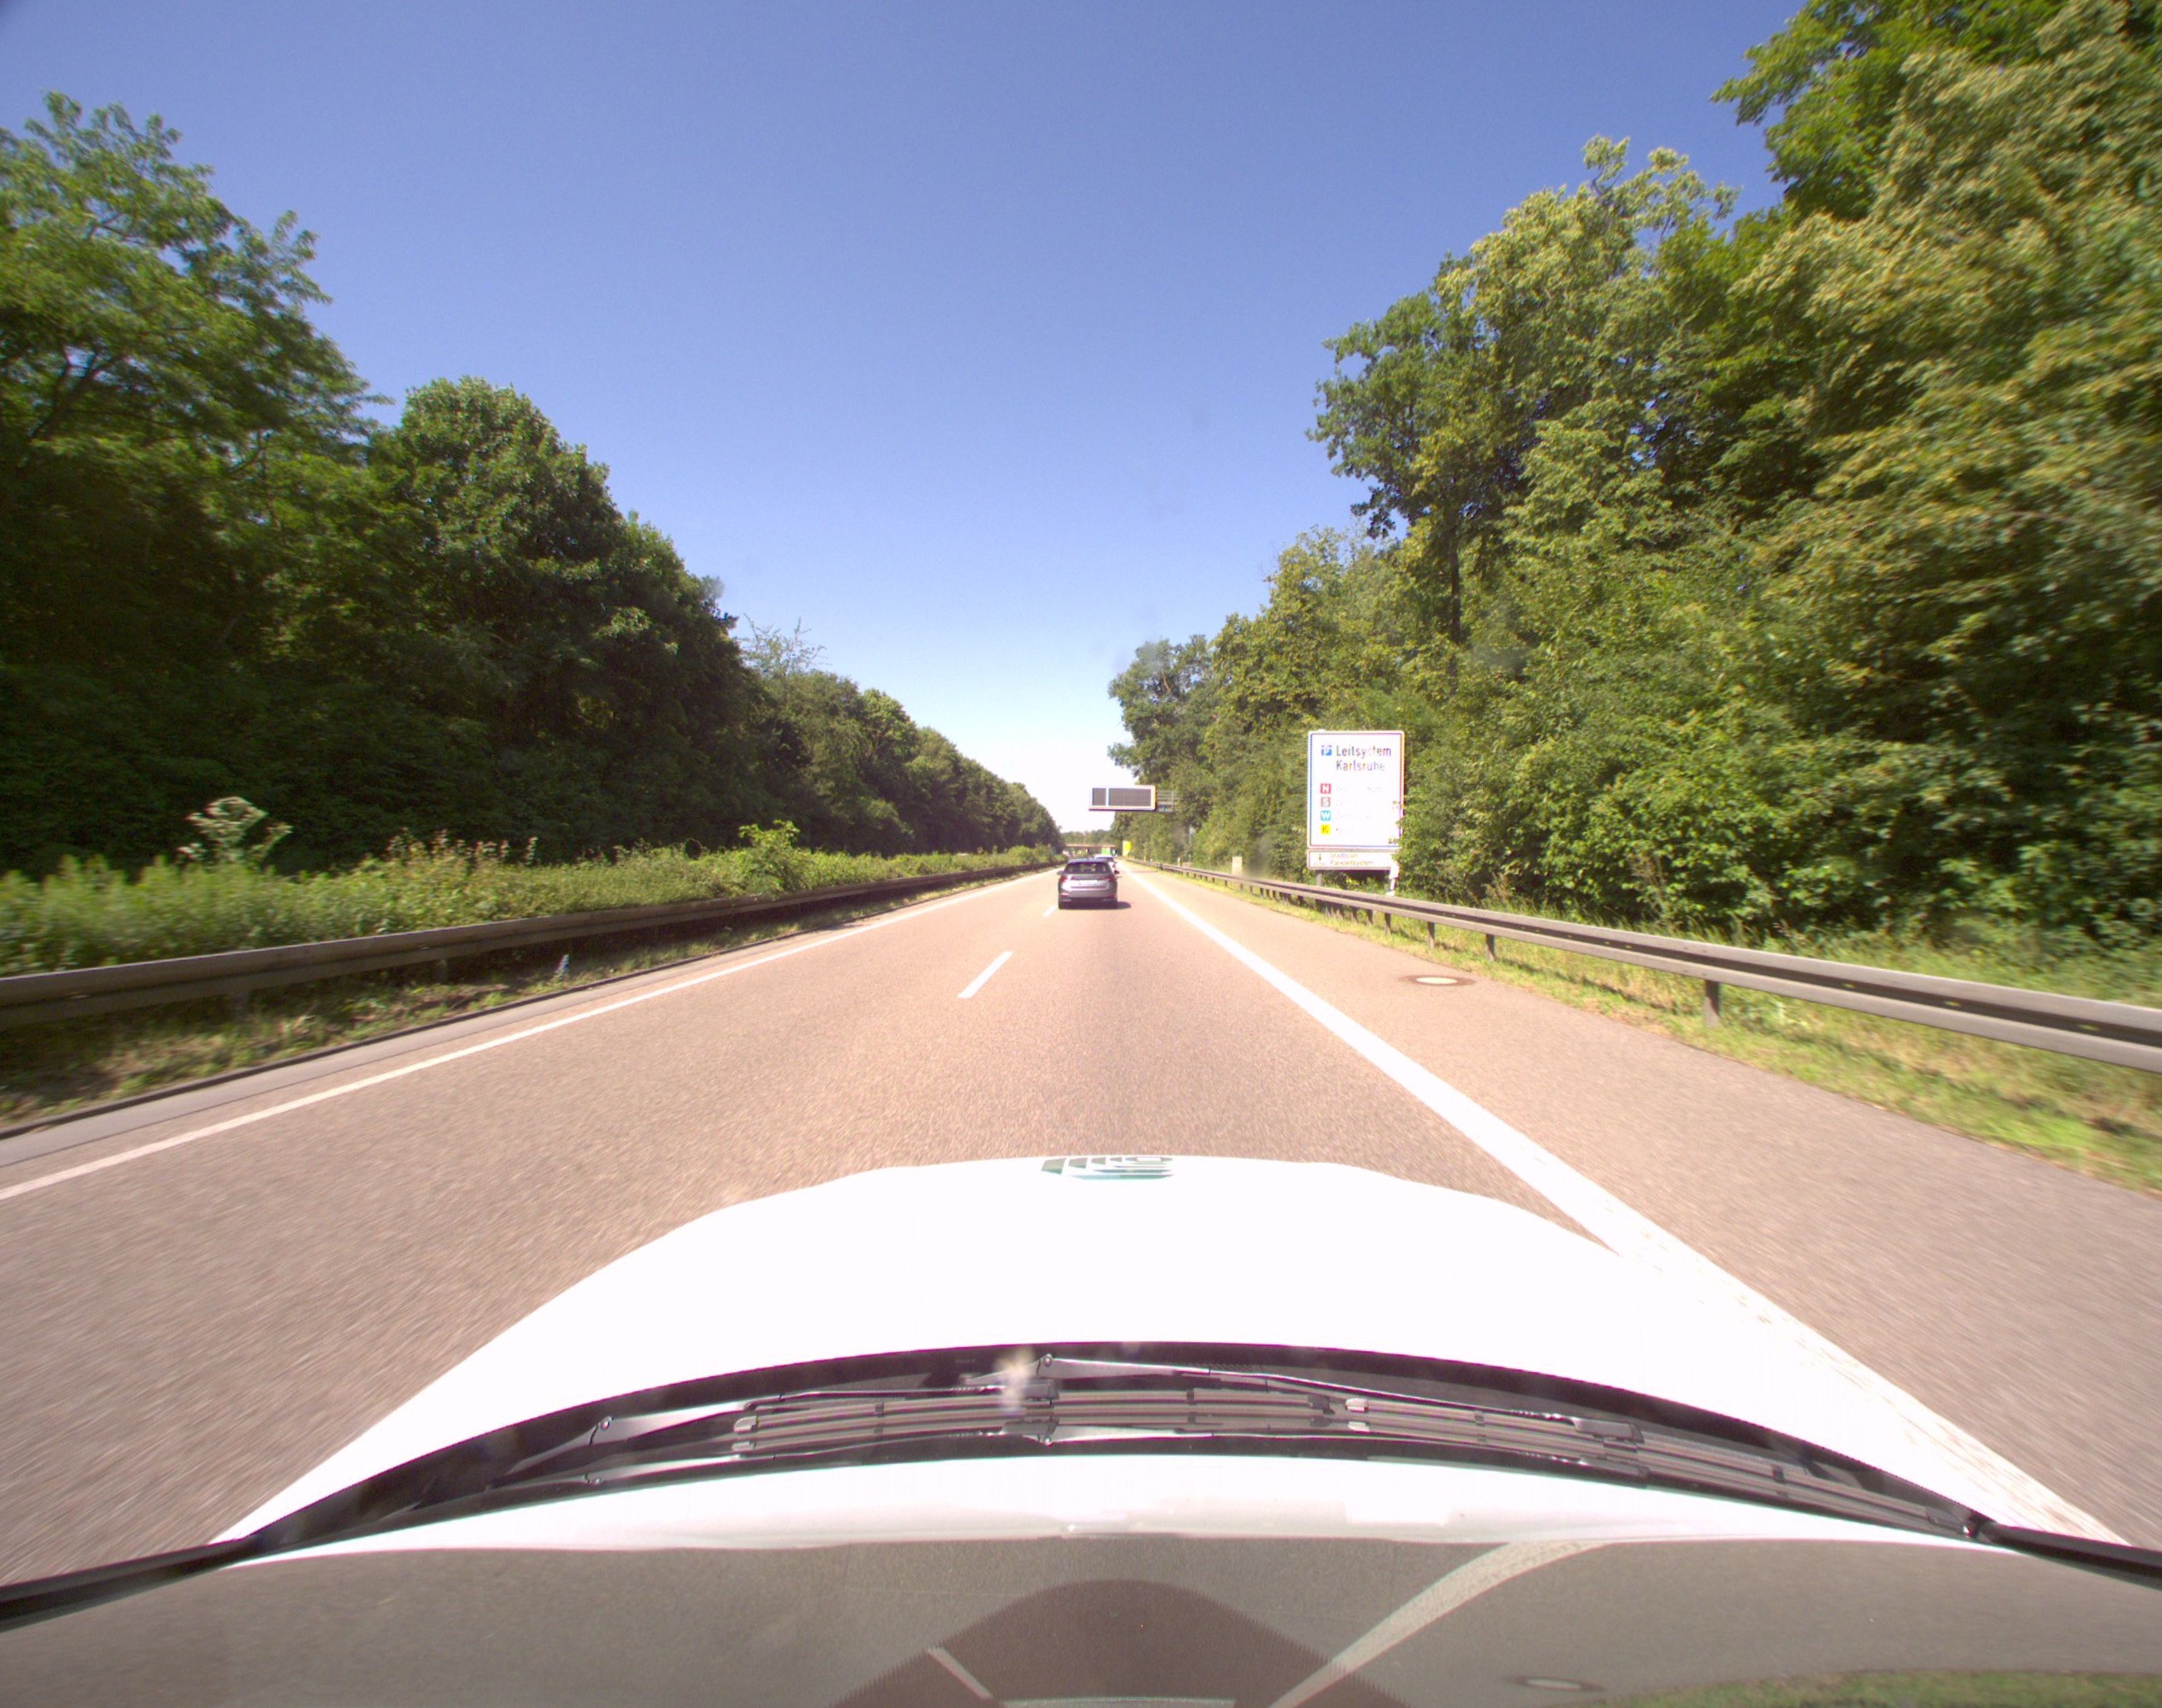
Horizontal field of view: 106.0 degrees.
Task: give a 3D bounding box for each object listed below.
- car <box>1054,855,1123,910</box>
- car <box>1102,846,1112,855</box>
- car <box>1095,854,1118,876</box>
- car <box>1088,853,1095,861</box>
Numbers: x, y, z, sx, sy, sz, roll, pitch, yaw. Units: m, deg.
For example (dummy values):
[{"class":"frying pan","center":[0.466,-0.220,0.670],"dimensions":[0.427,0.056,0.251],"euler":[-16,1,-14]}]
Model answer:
[{"class":"car","center":[0.283,0.776,24.019],"dimensions":[1.832,1.472,3.627],"euler":[0,0,3]},{"class":"car","center":[7.896,-0.934,246.632],"dimensions":[2.738,2.654,4.002],"euler":[0,-1,2]},{"class":"car","center":[1.776,0.732,56.296],"dimensions":[1.516,1.446,3.343],"euler":[0,0,3]},{"class":"car","center":[2.861,0.758,220.669],"dimensions":[1.986,2.014,4.002],"euler":[0,0,2]}]
